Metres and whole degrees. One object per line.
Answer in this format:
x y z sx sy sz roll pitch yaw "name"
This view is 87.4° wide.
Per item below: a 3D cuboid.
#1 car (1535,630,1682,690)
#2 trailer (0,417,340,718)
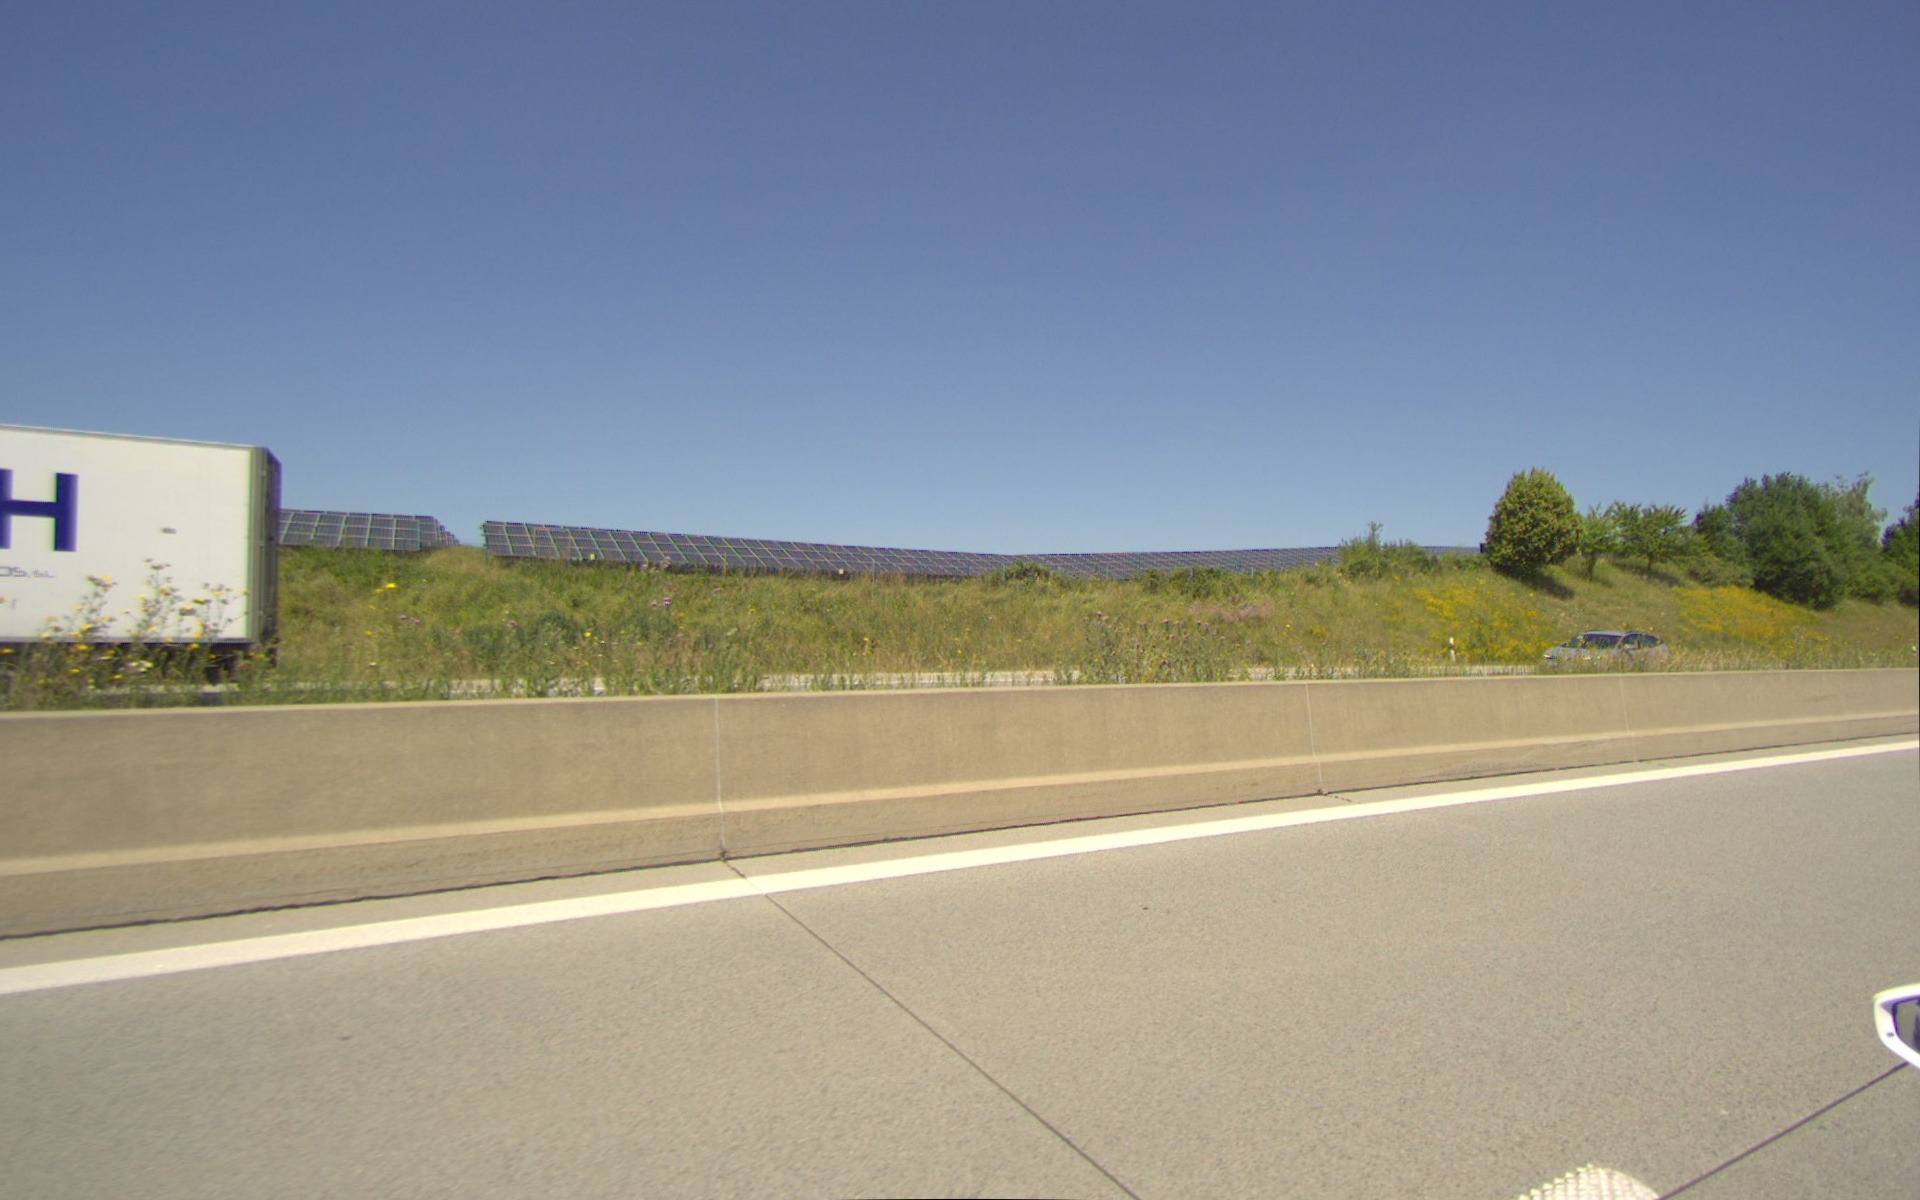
19.054 1.724 29.470 4.589 1.605 1.718 2 -1 -30 "car"
-16.600 -0.506 13.378 14.011 4.114 2.991 1 -1 -30 "trailer"
